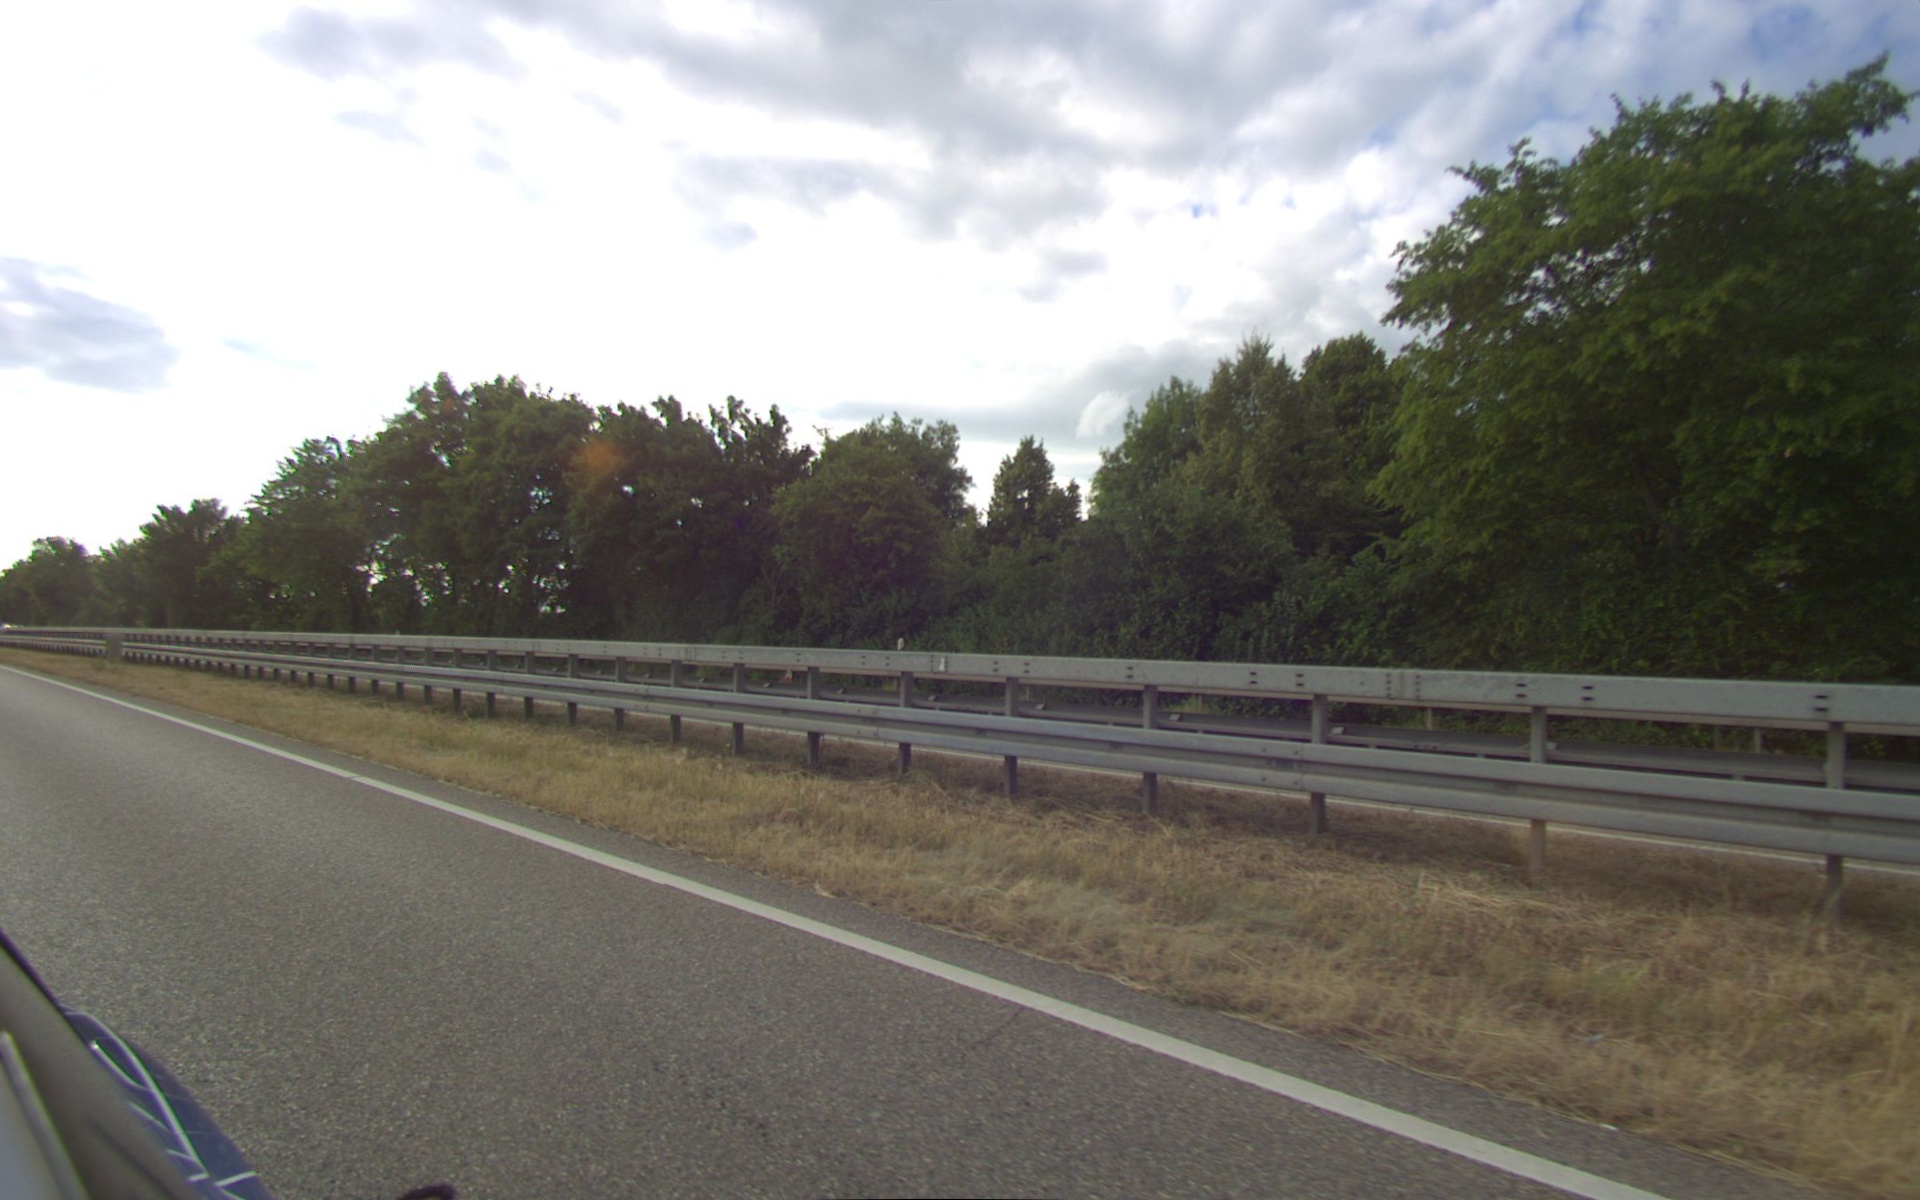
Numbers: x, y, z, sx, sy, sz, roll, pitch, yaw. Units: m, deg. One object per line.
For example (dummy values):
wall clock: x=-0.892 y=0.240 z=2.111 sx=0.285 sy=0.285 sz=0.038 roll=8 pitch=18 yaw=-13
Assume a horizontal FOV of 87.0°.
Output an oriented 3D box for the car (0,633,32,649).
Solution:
car: x=-92.549 y=4.025 z=99.222 sx=4.585 sy=1.556 sz=1.805 roll=-1 pitch=-3 yaw=41
